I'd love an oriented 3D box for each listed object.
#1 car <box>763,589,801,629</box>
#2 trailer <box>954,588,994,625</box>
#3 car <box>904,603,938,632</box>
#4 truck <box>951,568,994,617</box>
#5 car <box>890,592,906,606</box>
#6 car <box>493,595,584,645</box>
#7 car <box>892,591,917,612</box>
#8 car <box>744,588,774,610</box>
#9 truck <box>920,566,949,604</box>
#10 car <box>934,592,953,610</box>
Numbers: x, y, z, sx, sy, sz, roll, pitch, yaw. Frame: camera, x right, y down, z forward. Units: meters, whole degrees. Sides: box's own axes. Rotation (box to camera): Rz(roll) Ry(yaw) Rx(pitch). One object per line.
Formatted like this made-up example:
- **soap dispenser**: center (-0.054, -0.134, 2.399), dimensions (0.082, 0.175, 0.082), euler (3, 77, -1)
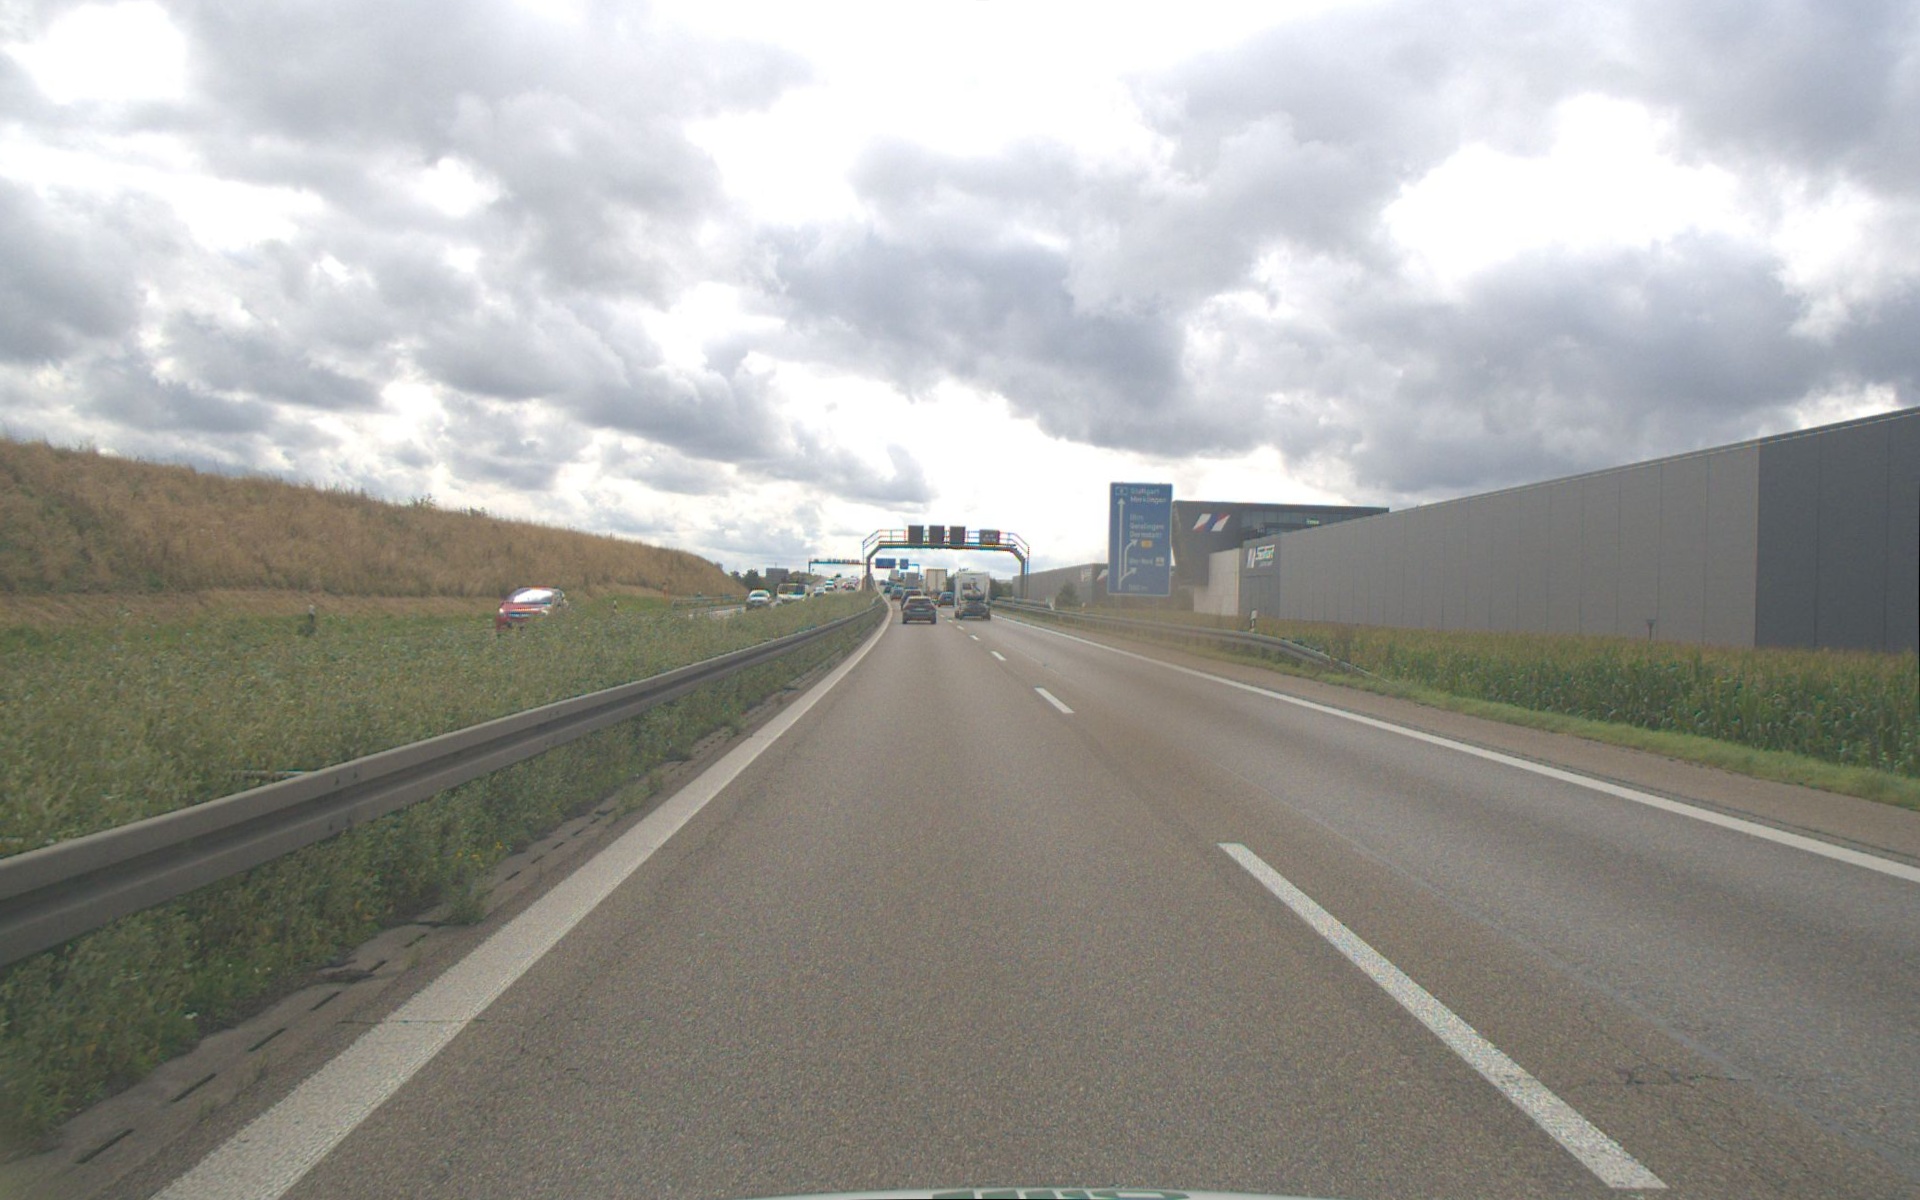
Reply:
- **car**: center (-11.175, 0.558, 104.211), dimensions (1.953, 2.389, 5.868), euler (1, 0, -2)
- **trailer**: center (0.804, 0.391, 99.857), dimensions (2.291, 2.174, 3.999), euler (1, 0, -1)
- **car**: center (-2.039, 0.916, 87.738), dimensions (1.711, 1.478, 3.999), euler (1, 0, 0)
- **truck**: center (0.771, -0.467, 107.712), dimensions (2.432, 3.002, 5.811), euler (1, 0, -3)
- **car**: center (-7.985, -0.092, 212.919), dimensions (1.903, 1.806, 3.695), euler (1, 0, -1)
- **car**: center (-12.687, 0.583, 50.010), dimensions (1.689, 1.428, 4.341), euler (1, 0, -1)
- **car**: center (-4.606, 0.122, 137.253), dimensions (1.906, 1.714, 3.999), euler (1, 0, -1)
- **car**: center (-14.495, -0.056, 119.286), dimensions (1.736, 1.479, 3.999), euler (1, 0, -1)
- **truck**: center (-3.275, -1.791, 208.260), dimensions (3.272, 4.613, 8.012), euler (1, 0, -3)
- **car**: center (-1.626, 0.073, 163.647), dimensions (1.764, 1.714, 3.999), euler (1, 0, -1)
